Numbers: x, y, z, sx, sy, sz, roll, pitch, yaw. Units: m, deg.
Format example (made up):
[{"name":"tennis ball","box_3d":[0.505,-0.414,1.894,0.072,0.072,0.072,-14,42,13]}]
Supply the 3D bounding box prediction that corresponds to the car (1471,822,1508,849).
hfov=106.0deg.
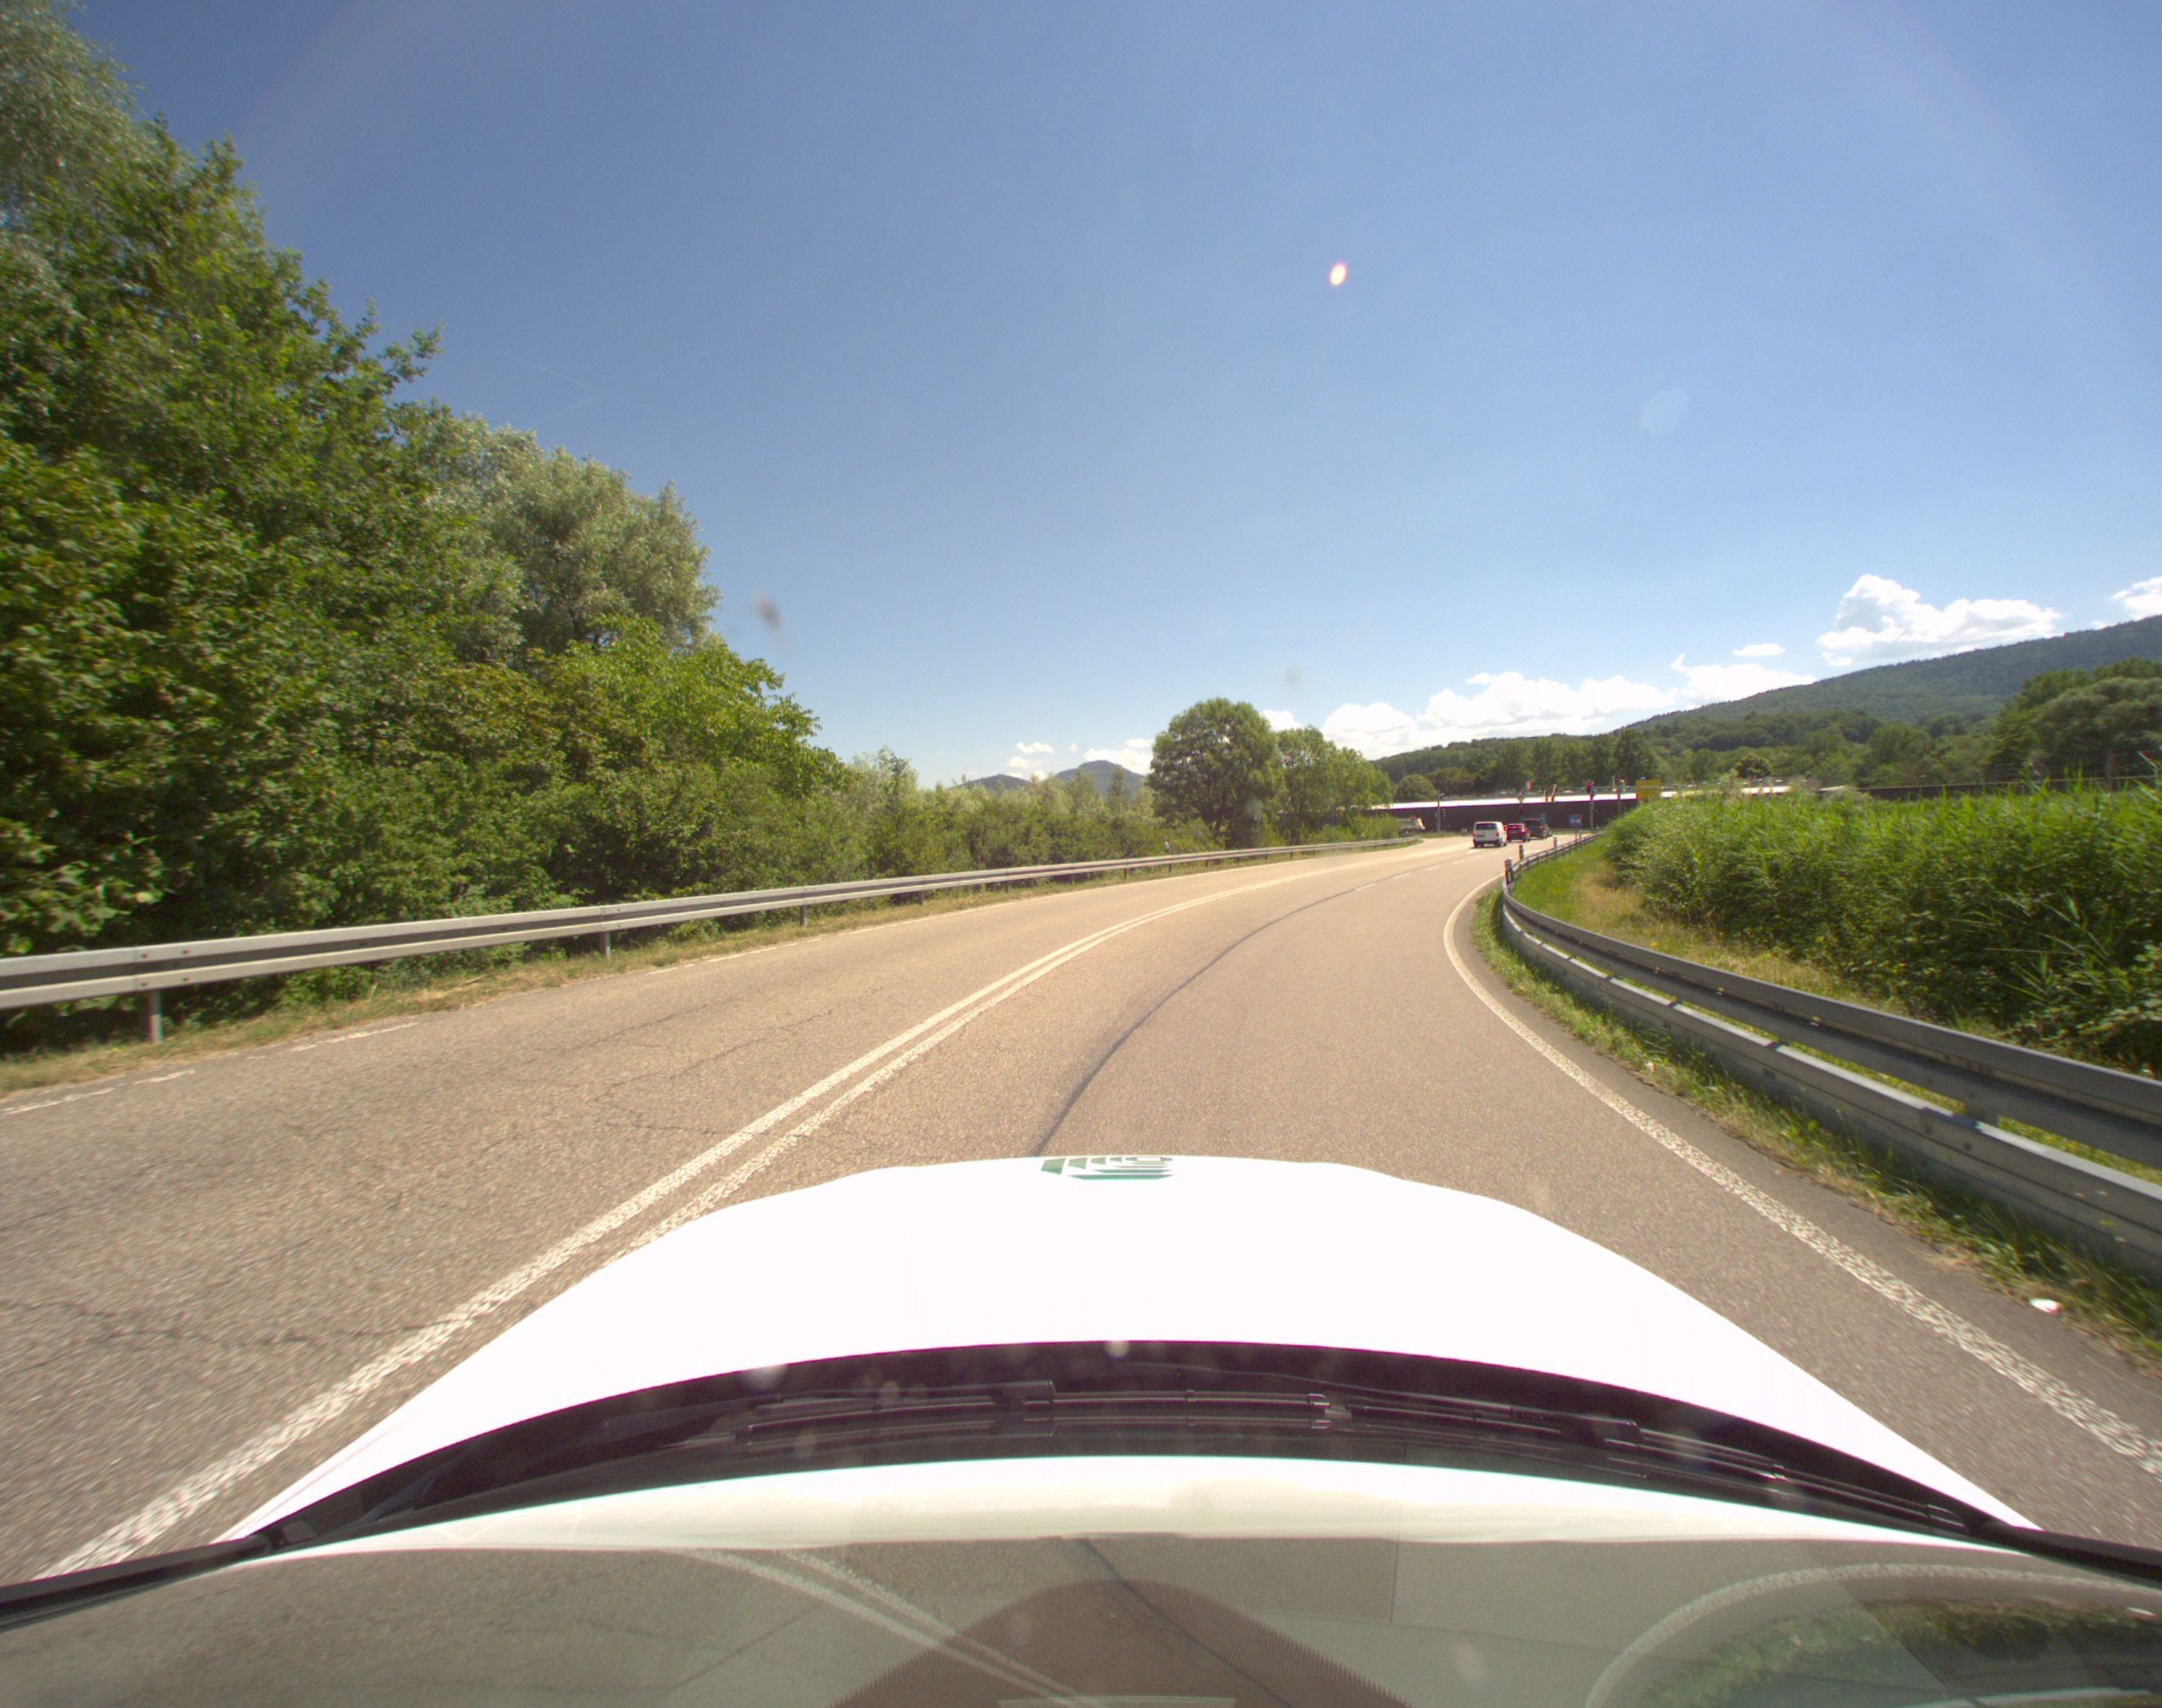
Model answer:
[{"name":"car","box_3d":[30.623,-1.402,61.041,1.852,1.964,4.026,0,2,35]}]

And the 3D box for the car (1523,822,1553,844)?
[{"name":"car","box_3d":[44.330,-2.056,78.985,1.974,2.013,4.026,-3,0,36]}]

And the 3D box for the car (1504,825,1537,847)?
[{"name":"car","box_3d":[38.578,-1.579,71.485,1.974,1.812,4.026,-3,0,36]}]
